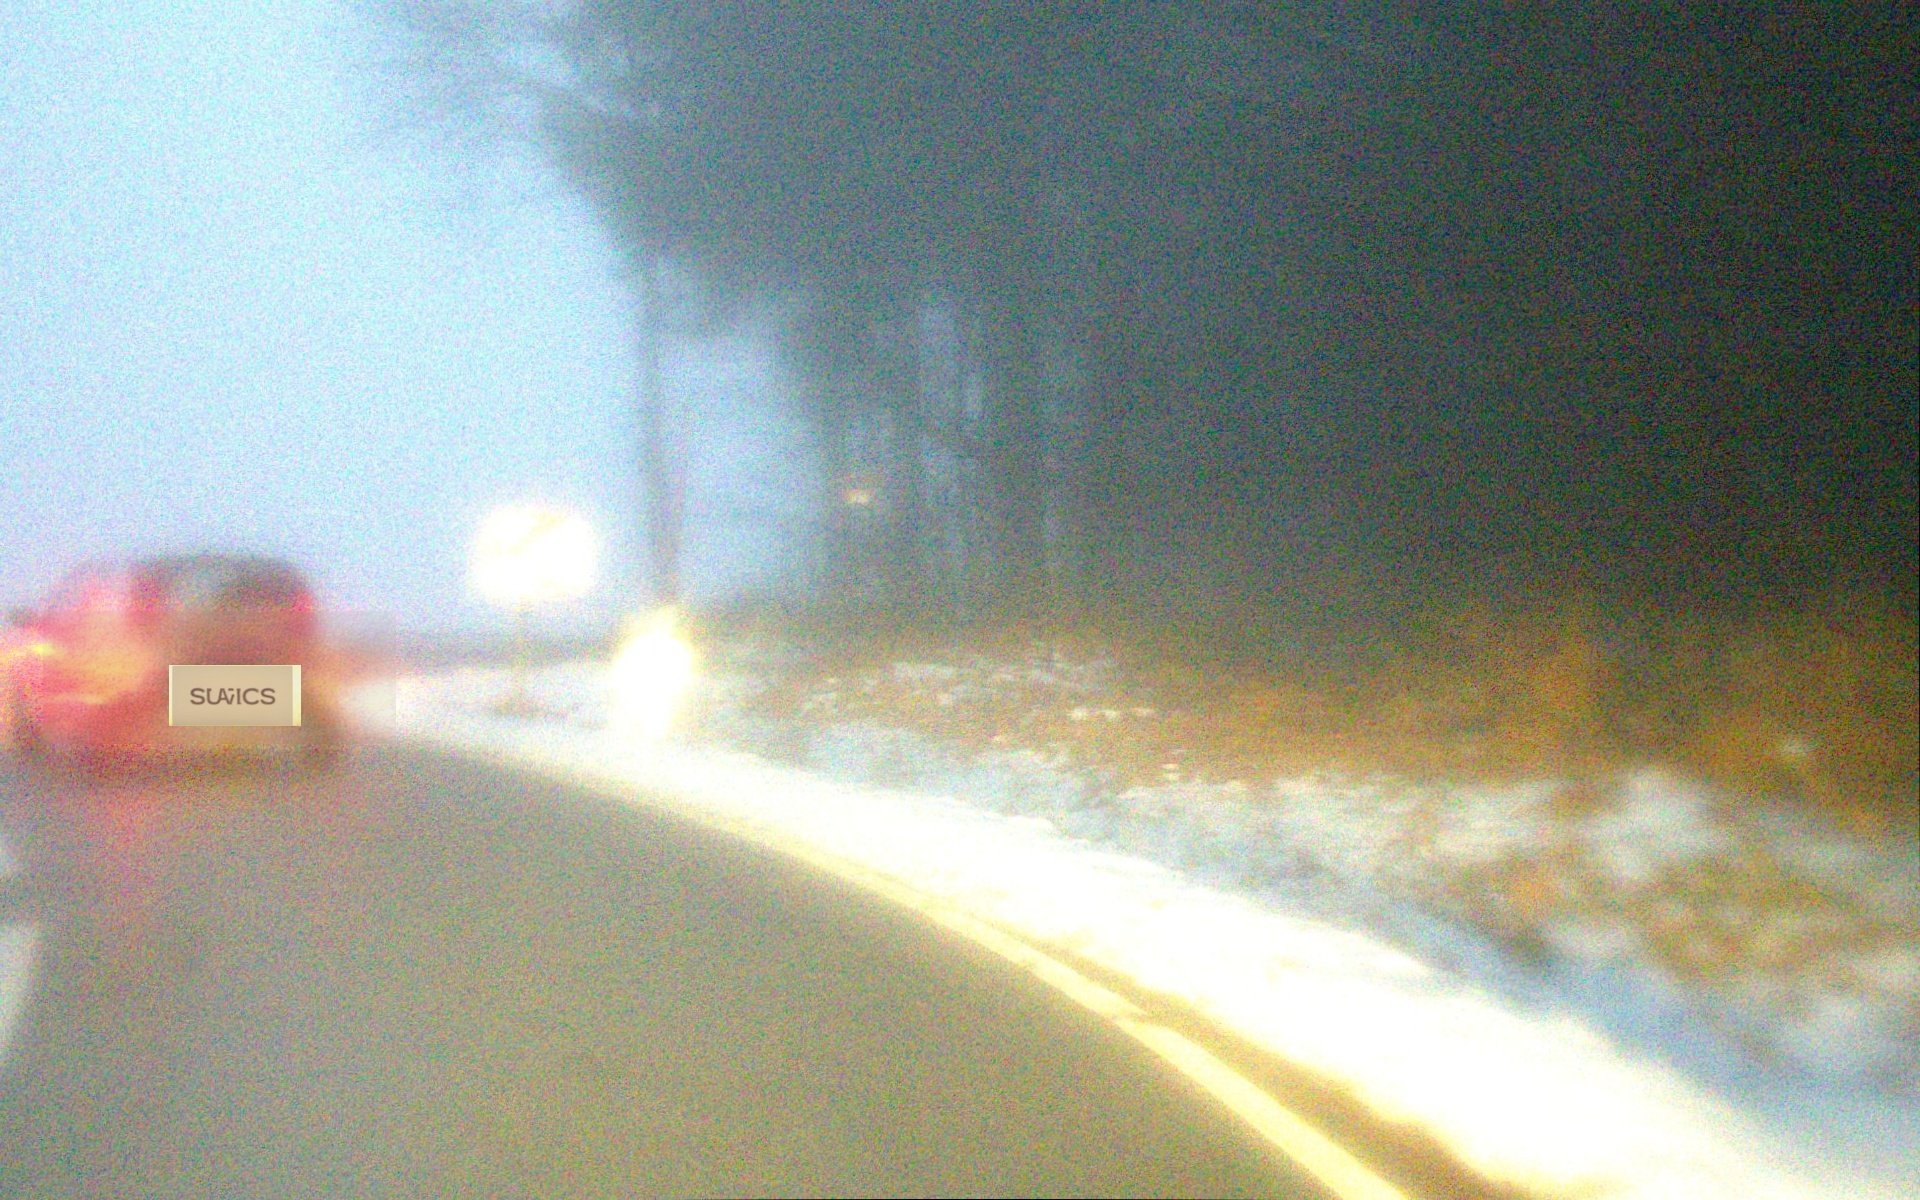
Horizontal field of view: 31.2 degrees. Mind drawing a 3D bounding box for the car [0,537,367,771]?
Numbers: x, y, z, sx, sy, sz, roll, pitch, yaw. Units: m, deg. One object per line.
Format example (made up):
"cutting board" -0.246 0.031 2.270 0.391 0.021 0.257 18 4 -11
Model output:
"car" -5.240 0.283 22.786 1.945 1.376 4.001 -1 1 -19
